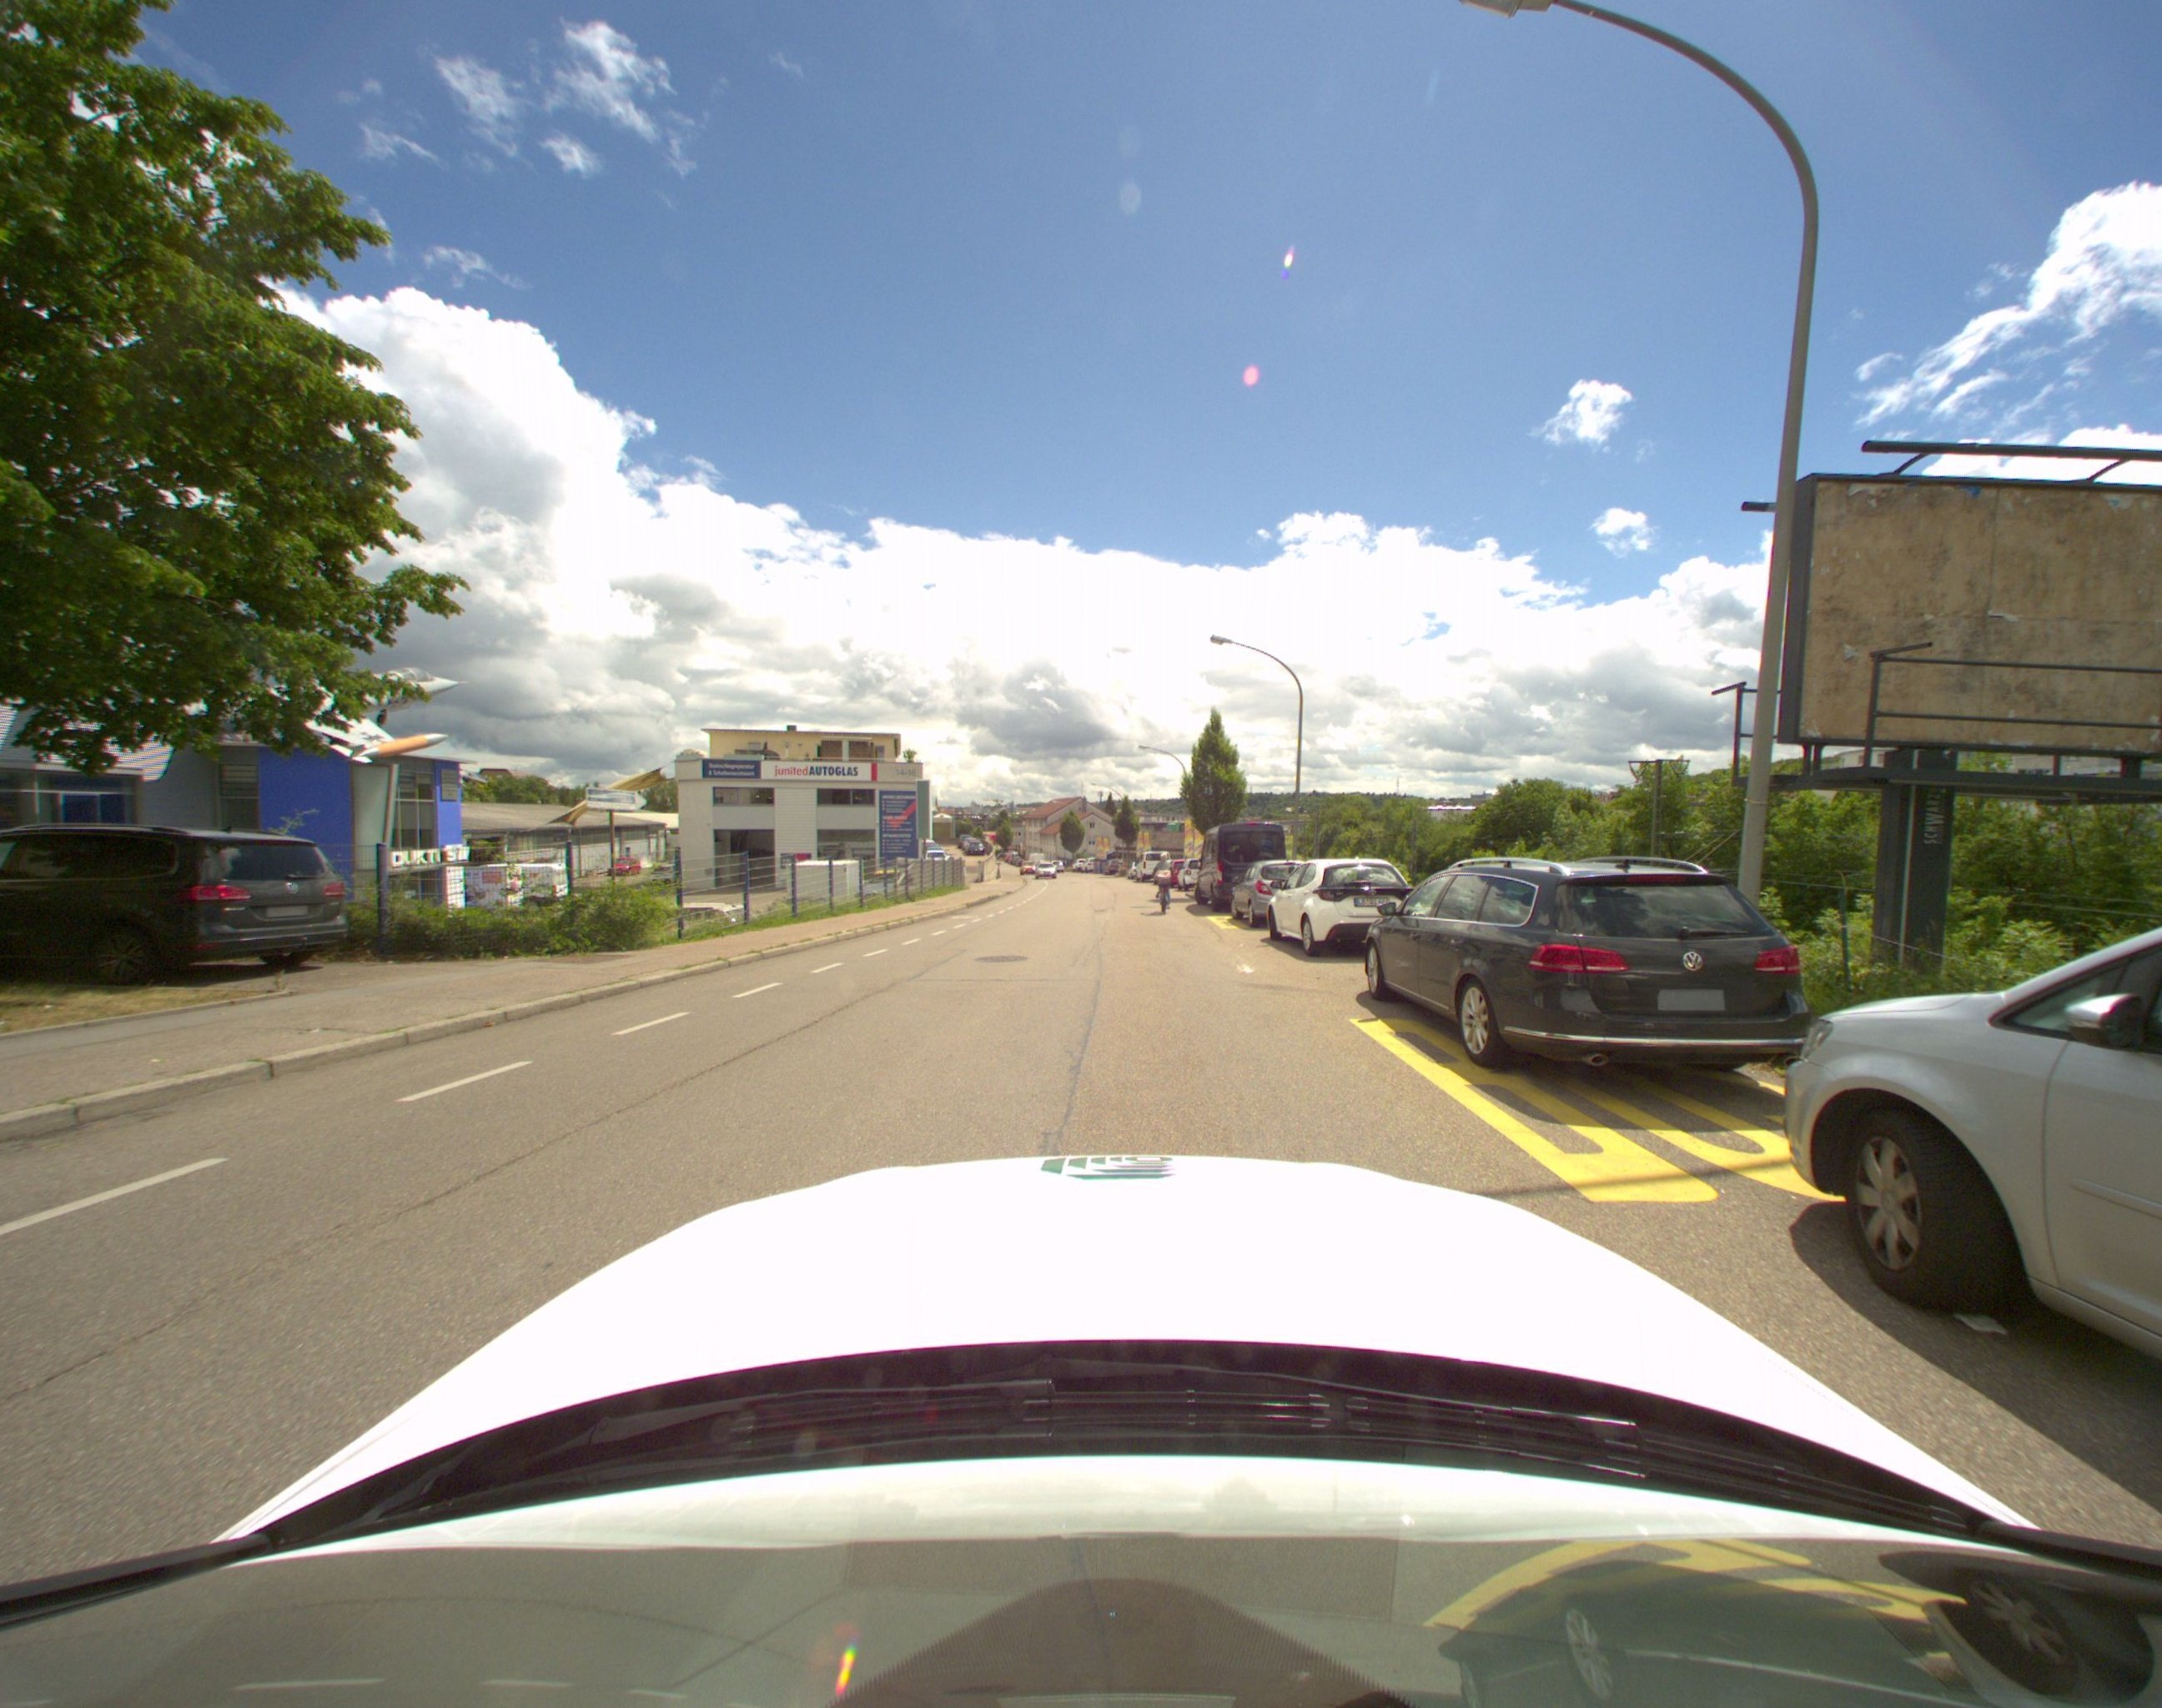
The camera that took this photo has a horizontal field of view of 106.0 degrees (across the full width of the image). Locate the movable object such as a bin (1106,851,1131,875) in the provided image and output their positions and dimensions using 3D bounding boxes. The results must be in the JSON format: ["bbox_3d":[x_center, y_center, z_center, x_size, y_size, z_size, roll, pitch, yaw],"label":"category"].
[{"bbox_3d":[3.748,0.941,82.048,2.131,2.303,2.553,-2,-1,-5],"label":"movable object such as a bin"}]

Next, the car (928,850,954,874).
[{"bbox_3d":[-10.488,0.594,60.774,1.848,1.650,3.985,-2,0,-11],"label":"car"}]

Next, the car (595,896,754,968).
[{"bbox_3d":[-12.848,2.439,25.916,3.974,2.014,2.000,-2,-1,0],"label":"car"}]

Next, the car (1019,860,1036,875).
[{"bbox_3d":[-5.972,1.493,91.268,1.706,1.574,3.991,-2,0,-6],"label":"car"}]

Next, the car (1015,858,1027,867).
[{"bbox_3d":[-11.031,1.541,149.704,1.993,1.464,3.987,-2,0,-9],"label":"car"}]

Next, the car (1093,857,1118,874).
[{"bbox_3d":[2.603,1.251,86.432,2.131,1.706,3.992,-2,0,-5],"label":"car"}]

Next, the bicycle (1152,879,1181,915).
[{"bbox_3d":[2.404,1.195,23.043,0.685,0.878,2.104,-2,0,3],"label":"bicycle"}]

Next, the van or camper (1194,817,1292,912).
[{"bbox_3d":[4.857,0.311,25.303,2.116,2.585,5.921,0,0,3],"label":"van or camper"}]

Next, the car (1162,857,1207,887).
[{"bbox_3d":[5.500,0.935,43.645,1.869,1.508,3.999,-2,0,0],"label":"car"}]

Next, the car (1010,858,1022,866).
[{"bbox_3d":[-12.920,1.542,160.979,1.993,1.464,3.987,-2,0,-9],"label":"car"}]

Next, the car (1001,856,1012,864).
[{"bbox_3d":[-15.330,1.198,167.367,1.993,1.464,3.987,-2,0,-9],"label":"car"}]

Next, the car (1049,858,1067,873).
[{"bbox_3d":[-2.731,1.377,97.051,1.990,1.618,3.994,-2,0,-4],"label":"car"}]

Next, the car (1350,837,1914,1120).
[{"bbox_3d":[3.722,0.658,6.680,1.698,1.487,4.576,1,0,3],"label":"car"}]

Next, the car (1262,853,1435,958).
[{"bbox_3d":[4.295,0.737,13.695,1.699,1.479,3.959,1,0,2],"label":"car"}]

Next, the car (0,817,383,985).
[{"bbox_3d":[-11.463,0.495,9.621,4.680,1.716,2.001,1,-2,2],"label":"car"}]

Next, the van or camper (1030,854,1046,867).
[{"bbox_3d":[-7.030,1.057,133.018,1.994,2.014,3.985,2,0,-11],"label":"van or camper"}]

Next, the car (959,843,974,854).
[{"bbox_3d":[-14.215,-0.700,100.843,1.671,1.323,3.704,-2,1,-11],"label":"car"}]

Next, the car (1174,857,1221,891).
[{"bbox_3d":[5.545,0.948,39.092,1.787,1.506,2.906,-2,0,0],"label":"car"}]

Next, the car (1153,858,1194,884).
[{"bbox_3d":[5.414,0.988,48.108,1.898,1.442,3.542,-2,0,-1],"label":"car"}]

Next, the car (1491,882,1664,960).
[{"bbox_3d":[12.084,1.562,20.223,1.698,1.510,4.532,1,0,3],"label":"car"}]

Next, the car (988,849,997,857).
[{"bbox_3d":[-22.849,-0.350,209.992,1.996,2.014,3.982,2,0,-13],"label":"car"}]

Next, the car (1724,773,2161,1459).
[{"bbox_3d":[3.464,0.655,1.252,1.698,1.678,4.311,1,0,3],"label":"car"}]

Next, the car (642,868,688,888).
[{"bbox_3d":[-29.802,1.703,58.431,1.996,1.354,3.982,0,0,-13],"label":"car"}]

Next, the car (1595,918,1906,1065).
[{"bbox_3d":[9.598,1.879,12.109,1.698,1.510,3.699,1,0,3],"label":"car"}]

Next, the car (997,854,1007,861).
[{"bbox_3d":[-17.732,0.842,183.308,1.994,1.420,3.986,-2,0,-10],"label":"car"}]

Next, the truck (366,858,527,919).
[{"bbox_3d":[-30.840,1.631,39.787,5.782,2.706,2.170,-2,-1,-11],"label":"truck"}]

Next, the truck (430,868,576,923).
[{"bbox_3d":[-30.298,2.137,42.892,5.782,2.574,2.199,-2,-1,-11],"label":"truck"}]

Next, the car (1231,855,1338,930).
[{"bbox_3d":[4.591,0.808,18.840,1.698,1.510,3.699,1,0,3],"label":"car"}]

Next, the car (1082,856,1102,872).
[{"bbox_3d":[1.230,1.161,91.807,1.810,1.706,3.992,-2,0,-5],"label":"car"}]

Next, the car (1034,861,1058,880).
[{"bbox_3d":[-3.119,1.442,72.018,1.701,1.562,4.316,-1,0,-7],"label":"car"}]

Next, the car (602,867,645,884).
[{"bbox_3d":[-38.087,1.769,67.888,1.996,1.354,3.982,0,0,-13],"label":"car"}]

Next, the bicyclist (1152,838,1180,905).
[{"bbox_3d":[2.386,0.496,23.067,0.682,1.825,1.081,-2,-1,3],"label":"bicyclist"}]

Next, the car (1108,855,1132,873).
[{"bbox_3d":[3.668,0.947,77.470,1.988,1.618,3.998,-2,0,-1],"label":"car"}]

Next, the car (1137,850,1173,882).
[{"bbox_3d":[4.917,0.778,54.806,1.987,2.014,4.917,0,0,0],"label":"car"}]

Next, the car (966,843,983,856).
[{"bbox_3d":[-10.883,-0.465,83.244,1.669,1.323,3.707,-1,1,-9],"label":"car"}]

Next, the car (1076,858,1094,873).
[{"bbox_3d":[0.461,1.355,97.420,1.840,1.706,3.992,-2,0,-5],"label":"car"}]
